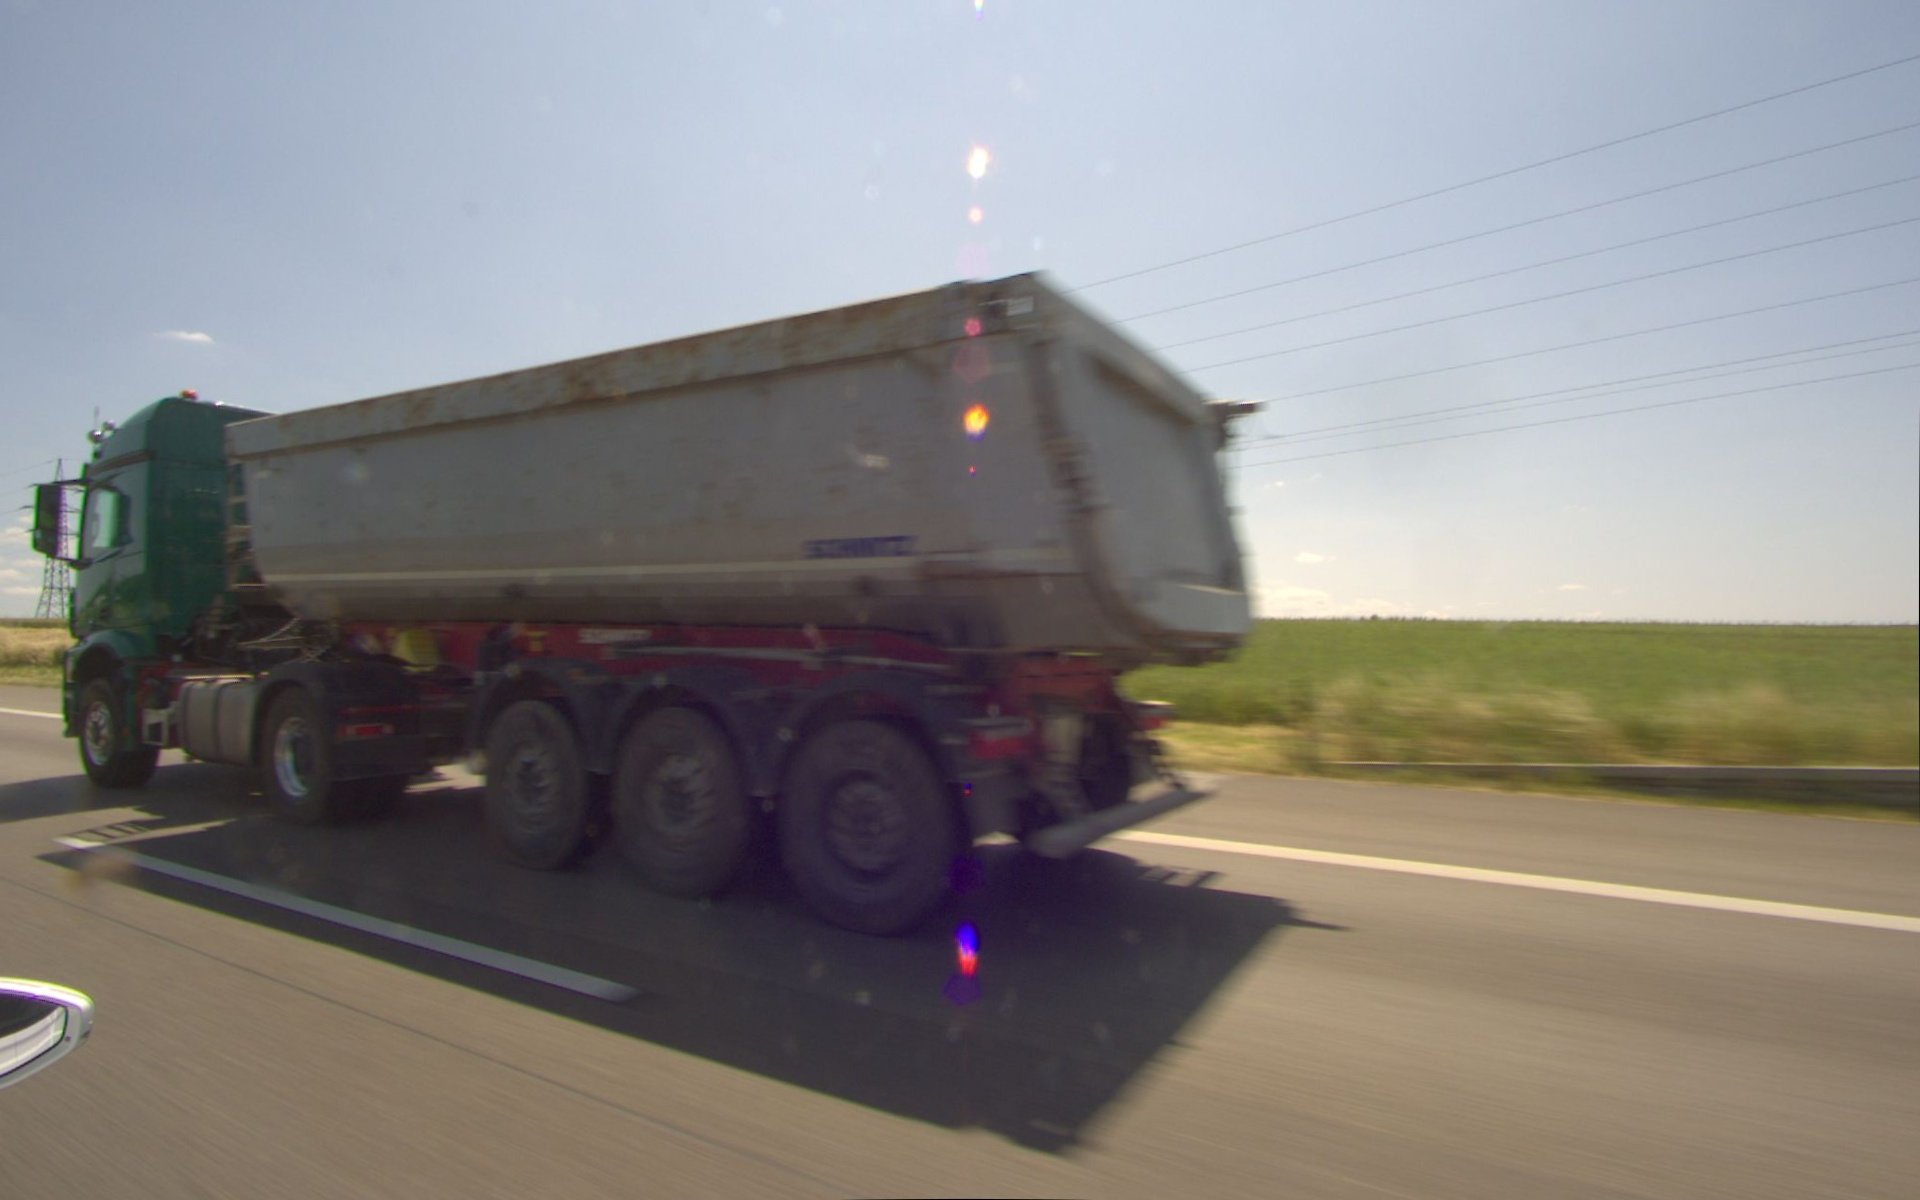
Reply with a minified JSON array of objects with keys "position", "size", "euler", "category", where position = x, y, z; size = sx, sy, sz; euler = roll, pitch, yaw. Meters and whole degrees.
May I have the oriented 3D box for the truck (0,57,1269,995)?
[{"position":[-4.098,-0.158,8.545],"size":[12.578,3.771,2.861],"euler":[-1,-1,32],"category":"truck"}]
